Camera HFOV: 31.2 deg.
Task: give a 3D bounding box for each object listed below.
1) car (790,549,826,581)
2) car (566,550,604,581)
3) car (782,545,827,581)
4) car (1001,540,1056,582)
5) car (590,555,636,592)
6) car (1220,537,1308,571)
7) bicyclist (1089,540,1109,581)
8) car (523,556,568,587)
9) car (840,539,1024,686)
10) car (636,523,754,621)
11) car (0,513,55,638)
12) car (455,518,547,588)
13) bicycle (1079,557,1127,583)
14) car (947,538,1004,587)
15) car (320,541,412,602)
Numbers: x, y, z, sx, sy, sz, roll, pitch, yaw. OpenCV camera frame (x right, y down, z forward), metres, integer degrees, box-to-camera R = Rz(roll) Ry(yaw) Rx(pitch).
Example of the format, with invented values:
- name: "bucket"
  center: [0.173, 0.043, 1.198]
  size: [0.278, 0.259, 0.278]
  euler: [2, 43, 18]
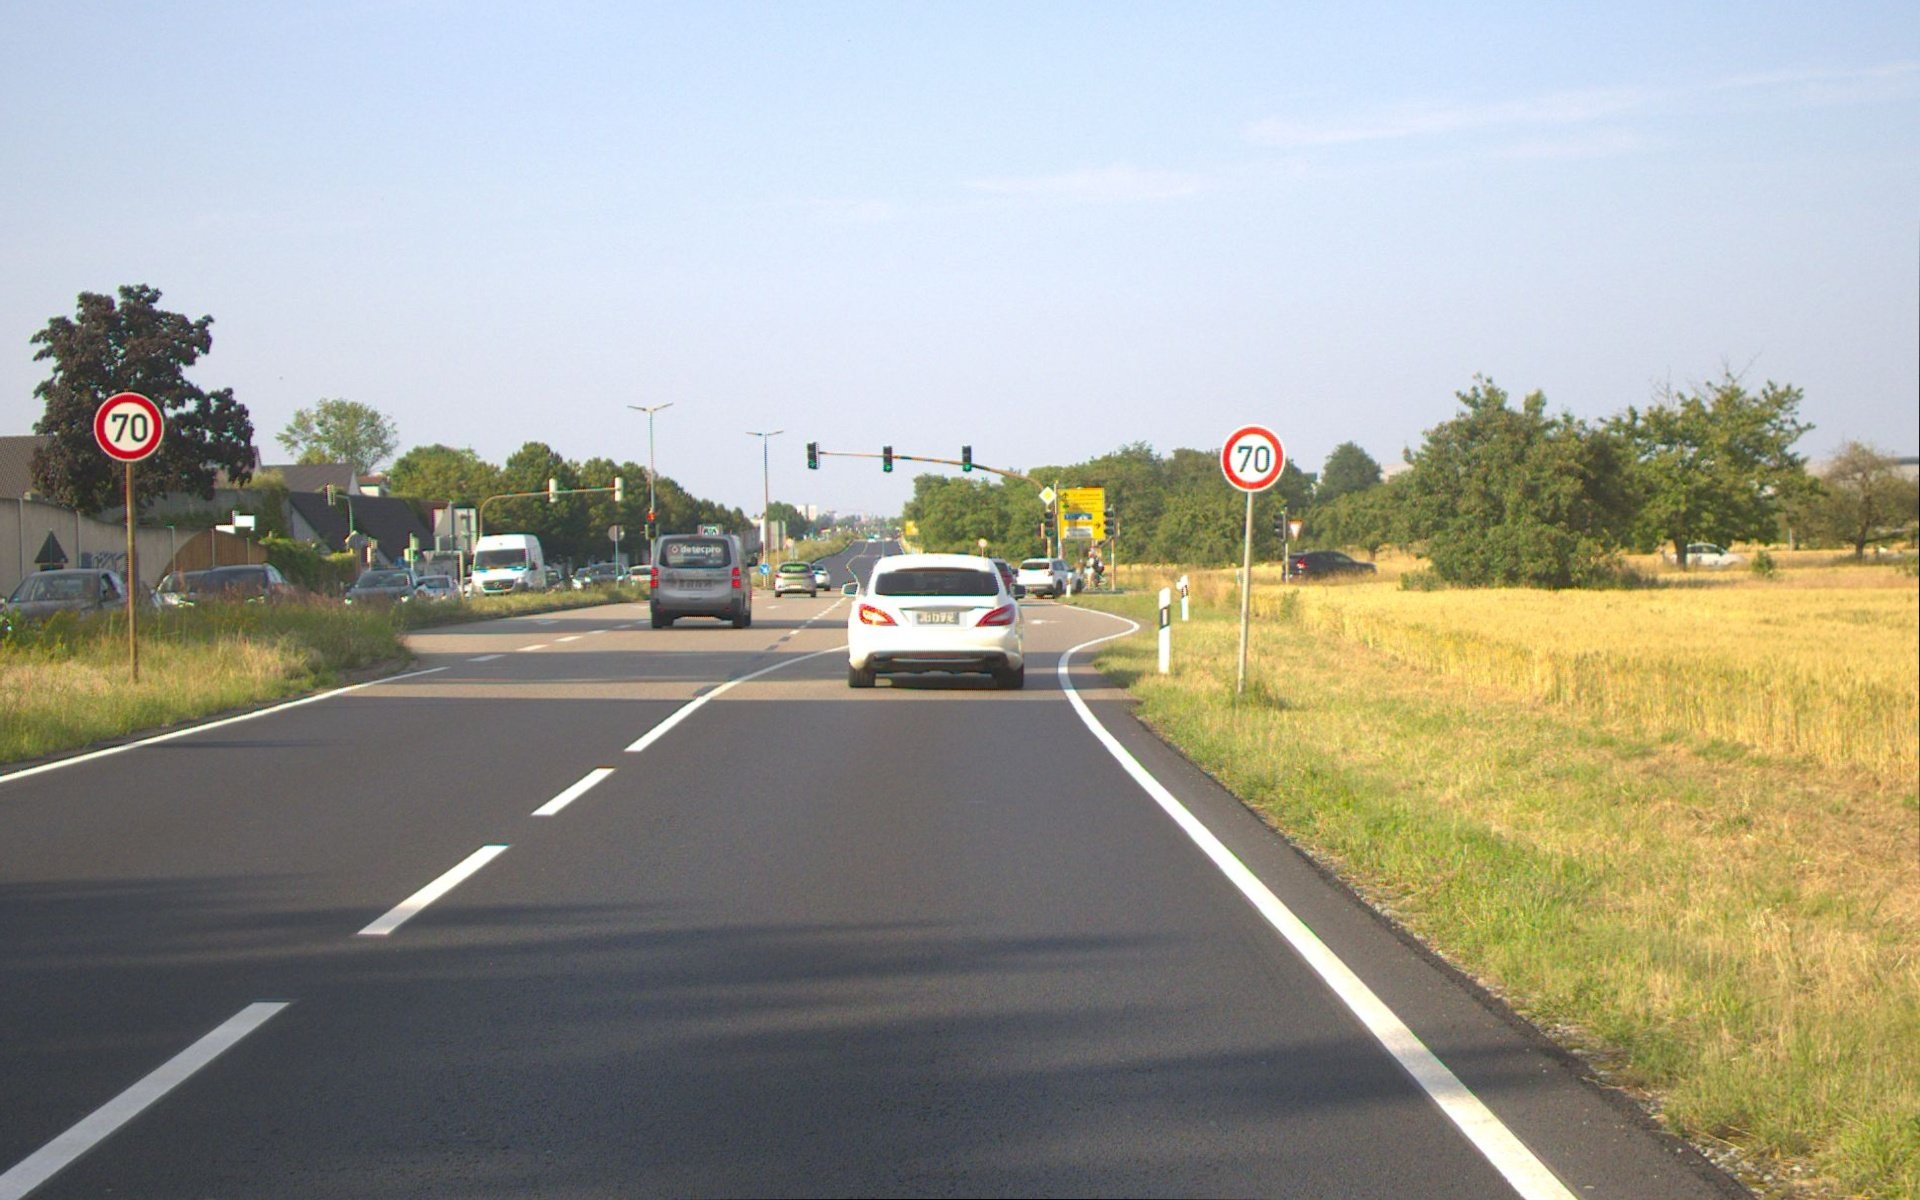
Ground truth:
- name: "car"
  center: [-7.927, -1.835, 178.948]
  size: [1.775, 1.660, 3.664]
  euler: [0, 1, -4]
- name: "car"
  center: [-20.786, -1.929, 190.712]
  size: [1.722, 1.700, 4.000]
  euler: [1, 1, 0]
- name: "car"
  center: [-6.468, -1.552, 143.434]
  size: [1.717, 1.487, 3.585]
  euler: [1, 1, -1]
- name: "car"
  center: [2.682, -1.554, 135.698]
  size: [1.854, 1.592, 4.001]
  euler: [0, 1, -3]
- name: "car"
  center: [-15.791, -1.206, 156.576]
  size: [1.731, 1.619, 4.923]
  euler: [1, 1, -1]
- name: "car"
  center: [13.081, -1.973, 147.999]
  size: [3.683, 1.415, 1.640]
  euler: [1, 1, 1]
- name: "bicyclist"
  center: [6.052, -1.712, 149.181]
  size: [0.848, 1.750, 0.799]
  euler: [1, 1, 3]
- name: "car"
  center: [-19.985, -1.399, 165.954]
  size: [1.710, 1.451, 4.000]
  euler: [1, 1, 0]
- name: "car"
  center: [-0.332, 0.092, 37.430]
  size: [1.894, 1.503, 4.000]
  euler: [0, 1, -1]
- name: "car"
  center: [-5.346, -0.599, 69.898]
  size: [2.025, 1.885, 4.959]
  euler: [1, 1, 0]
- name: "car"
  center: [-14.948, -0.391, 51.448]
  size: [1.763, 1.826, 4.369]
  euler: [1, 1, -2]
- name: "car"
  center: [-15.624, -1.602, 117.454]
  size: [2.348, 2.295, 7.192]
  euler: [1, 1, -2]
- name: "bicycle"
  center: [6.211, -1.303, 149.180]
  size: [2.096, 1.085, 0.808]
  euler: [1, 1, 3]
- name: "car"
  center: [0.483, -1.218, 110.464]
  size: [1.754, 1.511, 4.000]
  euler: [-1, 1, 0]
- name: "car"
  center: [-14.592, -0.719, 84.564]
  size: [1.648, 1.437, 3.568]
  euler: [1, 1, 0]
